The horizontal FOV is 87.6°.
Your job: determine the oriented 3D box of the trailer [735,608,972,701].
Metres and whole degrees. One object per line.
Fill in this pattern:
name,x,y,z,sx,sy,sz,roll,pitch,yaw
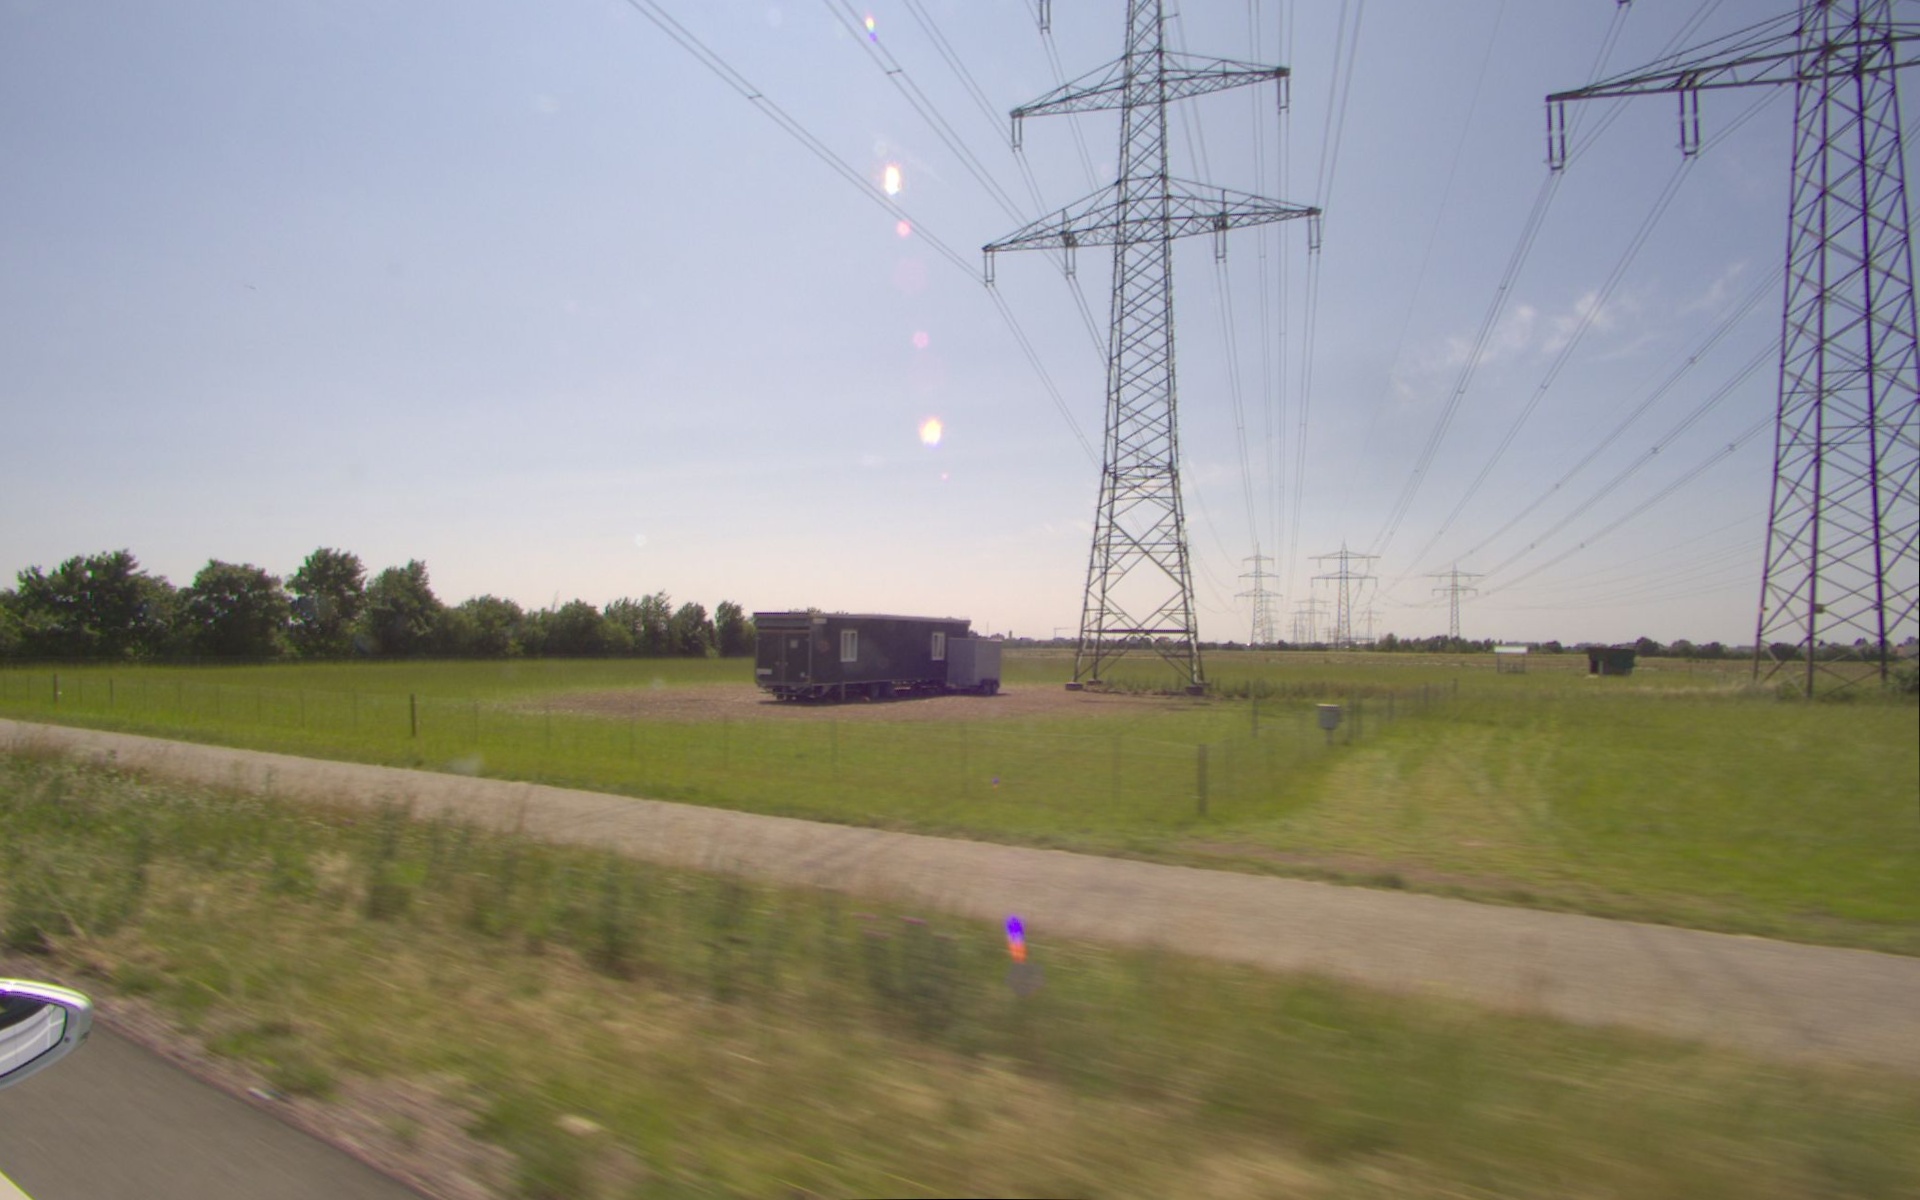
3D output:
trailer,-4.171,2.359,44.115,3.749,3.516,12.399,0,-3,31

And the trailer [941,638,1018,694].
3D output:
trailer,0.961,3.035,46.820,1.969,2.473,3.985,0,-2,29
